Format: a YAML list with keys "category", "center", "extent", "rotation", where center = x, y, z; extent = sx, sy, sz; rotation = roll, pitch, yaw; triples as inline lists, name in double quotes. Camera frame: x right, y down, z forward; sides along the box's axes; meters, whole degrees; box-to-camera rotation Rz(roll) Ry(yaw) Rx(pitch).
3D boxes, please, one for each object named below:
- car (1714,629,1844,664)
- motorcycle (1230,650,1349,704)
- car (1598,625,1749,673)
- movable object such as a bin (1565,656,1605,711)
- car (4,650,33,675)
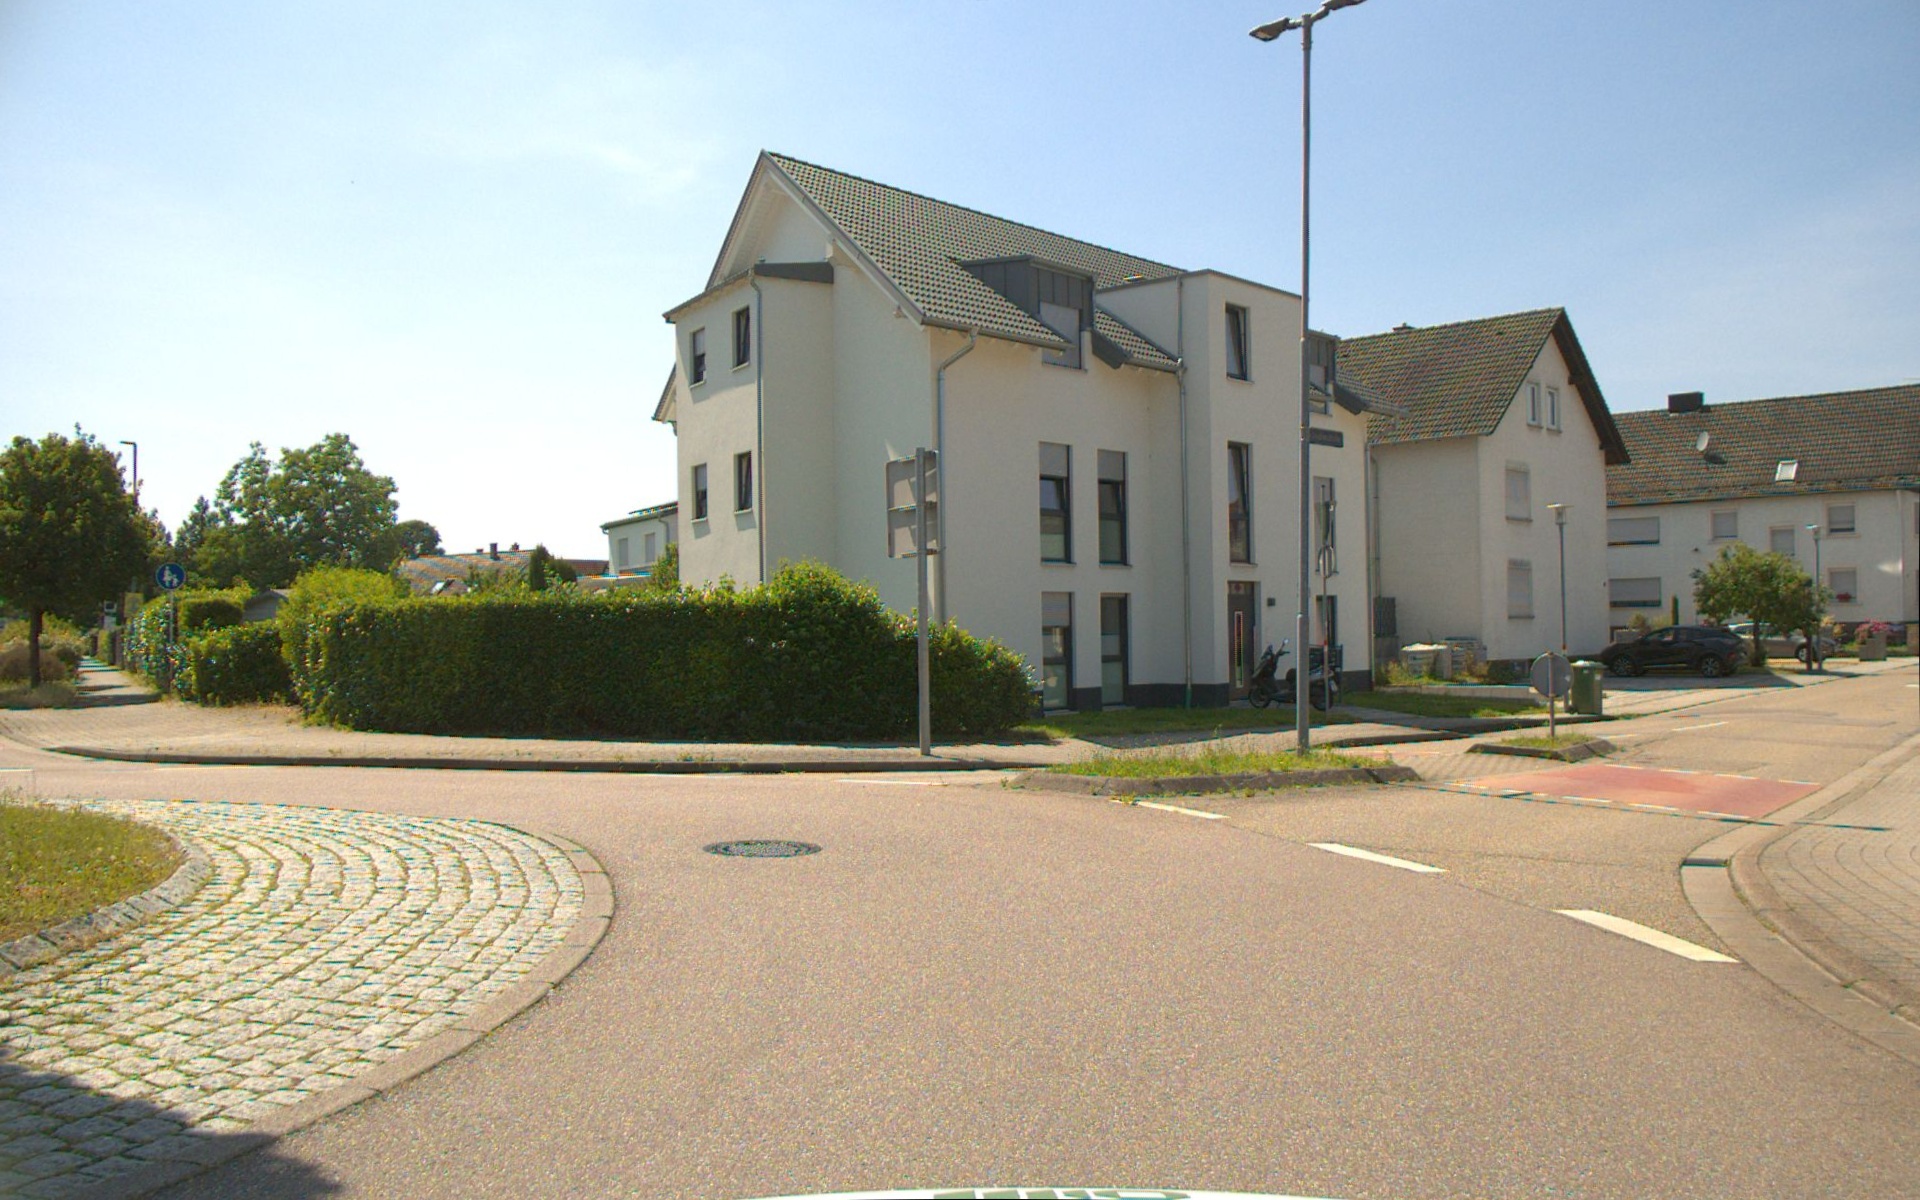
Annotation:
- category: "car"
  center: [29.715, 1.681, 60.060]
  extent: [3.923, 1.211, 1.832]
  rotation: [-1, -1, 39]
- category: "motorcycle"
  center: [6.459, 1.502, 32.500]
  extent: [2.329, 1.031, 0.667]
  rotation: [-2, -4, 45]
- category: "car"
  center: [21.608, 1.477, 50.170]
  extent: [3.923, 1.408, 1.652]
  rotation: [-2, -2, 38]
- category: "movable object such as a bin"
  center: [13.036, 1.736, 34.519]
  extent: [0.455, 1.102, 0.637]
  rotation: [0, -1, -41]
- category: "car"
  center: [-74.973, 5.003, 131.784]
  extent: [1.902, 1.919, 3.961]
  rotation: [1, -3, -29]
